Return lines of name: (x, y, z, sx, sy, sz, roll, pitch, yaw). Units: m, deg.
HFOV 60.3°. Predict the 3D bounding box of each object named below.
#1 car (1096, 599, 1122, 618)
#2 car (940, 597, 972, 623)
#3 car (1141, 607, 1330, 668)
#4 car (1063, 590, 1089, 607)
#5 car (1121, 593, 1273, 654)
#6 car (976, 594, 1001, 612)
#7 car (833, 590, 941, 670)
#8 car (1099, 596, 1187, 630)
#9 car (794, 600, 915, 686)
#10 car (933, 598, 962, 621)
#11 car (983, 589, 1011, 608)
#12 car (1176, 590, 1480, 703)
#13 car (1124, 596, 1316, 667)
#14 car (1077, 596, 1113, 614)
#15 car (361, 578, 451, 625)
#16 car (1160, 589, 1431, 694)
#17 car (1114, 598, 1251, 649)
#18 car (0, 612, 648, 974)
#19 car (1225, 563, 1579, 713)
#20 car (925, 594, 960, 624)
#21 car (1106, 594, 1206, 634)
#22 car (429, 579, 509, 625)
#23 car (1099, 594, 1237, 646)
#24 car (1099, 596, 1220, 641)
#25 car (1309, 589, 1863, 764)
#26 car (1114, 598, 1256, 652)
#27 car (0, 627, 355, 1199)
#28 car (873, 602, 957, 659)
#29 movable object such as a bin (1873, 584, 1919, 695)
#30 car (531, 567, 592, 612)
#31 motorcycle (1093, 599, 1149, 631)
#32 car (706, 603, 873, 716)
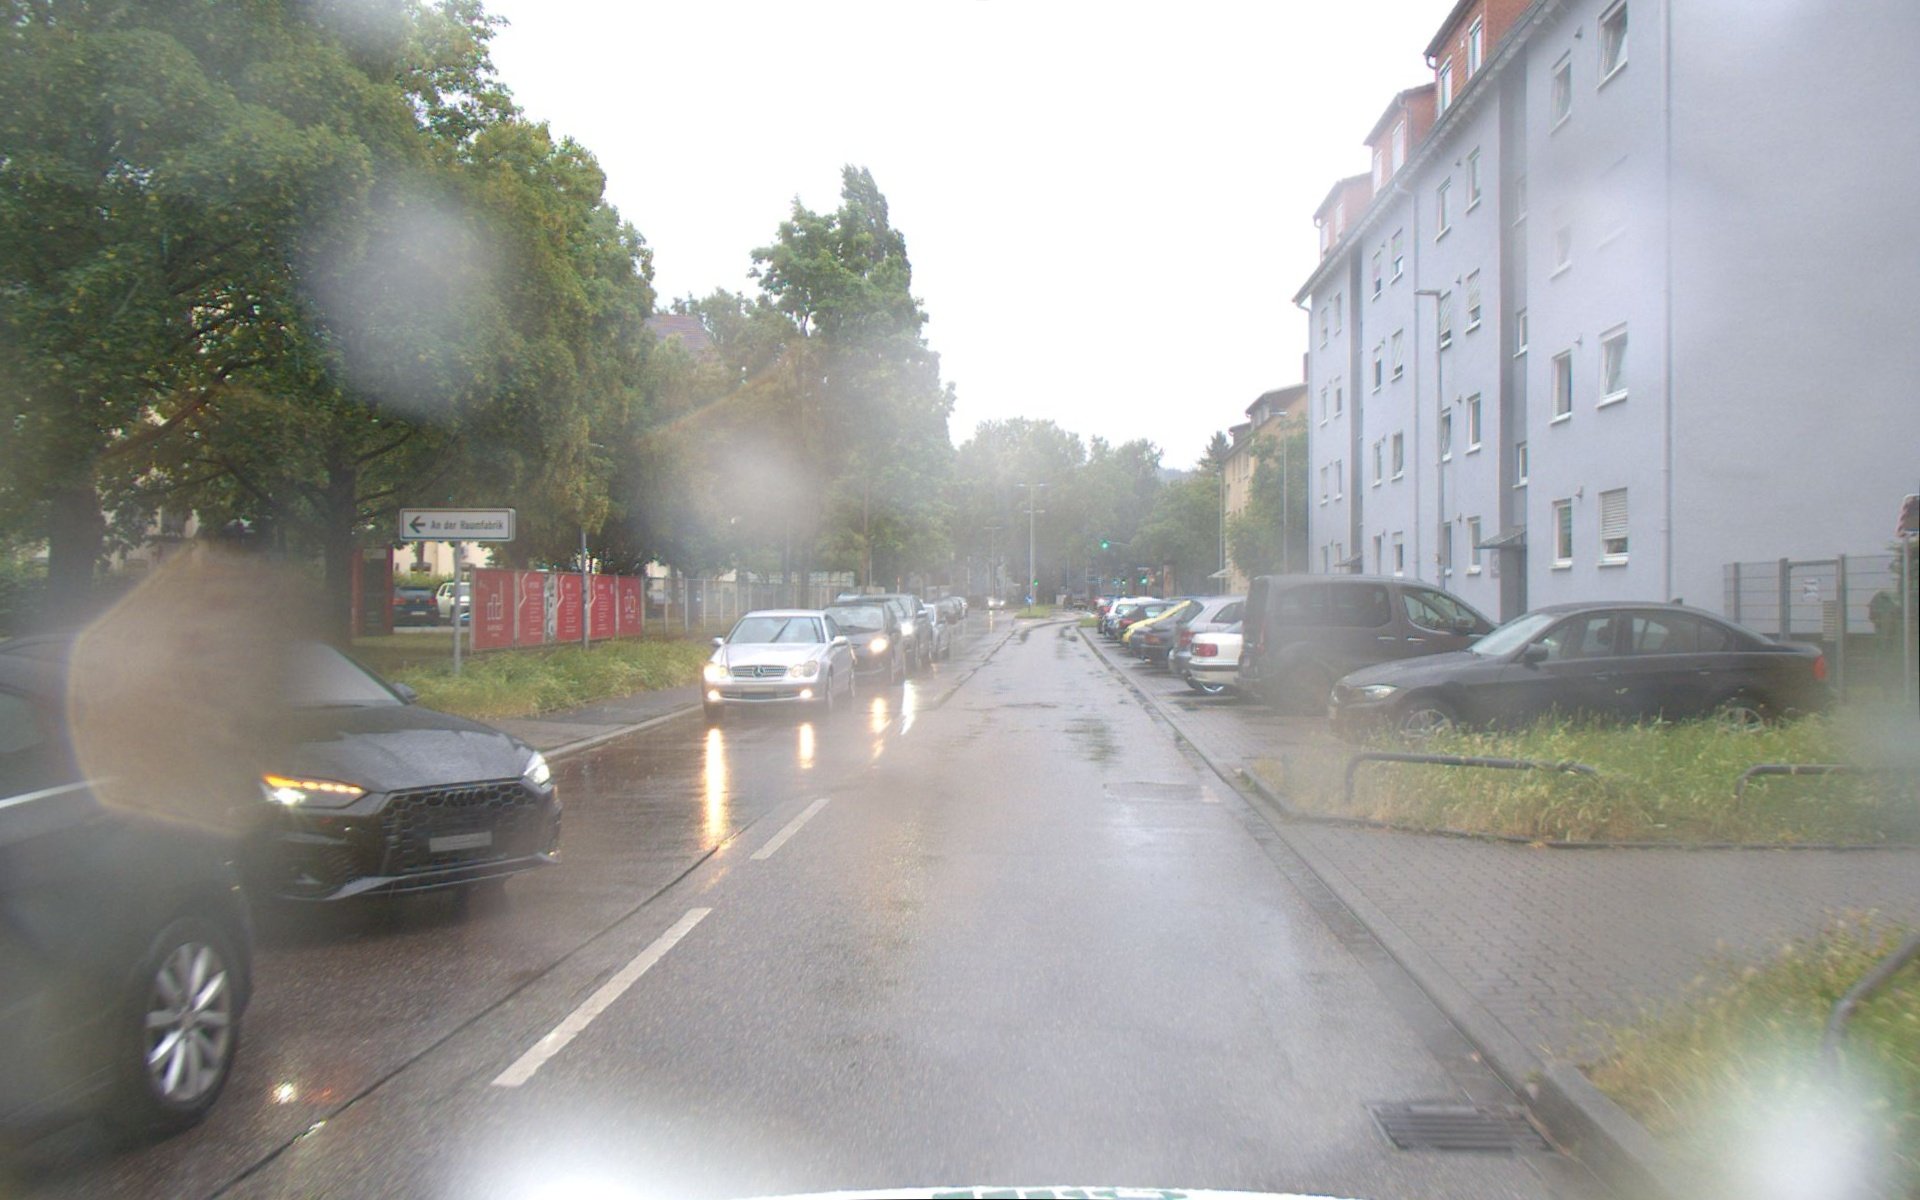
car: (11.929, 0.660, 132.599, 1.811, 1.551, 4.000, 0, 0, 1)
car: (-0.275, 0.727, 116.214, 1.886, 1.761, 4.002, 1, 0, 5)
car: (5.720, 0.765, 34.732, 3.773, 1.229, 1.957, 0, 0, 5)
car: (11.153, -0.151, 159.288, 1.814, 1.551, 3.995, 0, 0, -6)
car: (6.423, 0.635, 45.147, 3.904, 1.579, 1.853, 1, 0, 1)
car: (2.955, 0.308, 170.010, 1.710, 1.718, 3.987, 1, 0, -12)
car: (-1.574, 0.654, 37.569, 1.874, 1.668, 4.824, 1, 0, 4)
car: (8.350, 0.597, 75.635, 3.903, 1.487, 1.935, 1, 0, 3)
car: (-1.878, 0.745, 30.729, 1.741, 1.445, 4.267, -1, 0, 3)
car: (-0.846, 0.606, 109.917, 1.889, 1.510, 4.000, -1, 0, 0)
car: (3.957, -0.179, 177.039, 1.961, 2.049, 3.982, 0, 0, -16)
car: (5.354, 0.663, 24.463, 4.103, 1.596, 1.889, 0, 0, 1)
car: (5.795, 0.695, 37.274, 4.057, 1.512, 2.013, 1, 0, 3)
car: (11.887, 0.469, 146.079, 1.820, 1.551, 4.134, 0, 0, -17)
car: (-19.742, 0.078, 58.865, 1.977, 1.585, 3.950, 0, -1, -35)
car: (5.412, 0.655, 27.077, 4.094, 1.599, 1.891, 1, 0, 2)
car: (6.721, 0.704, 50.356, 4.011, 1.483, 2.001, 0, 0, 4)
car: (-4.183, 0.822, 9.171, 4.828, 1.479, 2.079, 0, 0, 35)
car: (5.744, 0.485, 21.889, 4.145, 1.837, 1.944, -1, 0, -1)
car: (-1.035, 0.512, 95.100, 1.740, 1.556, 3.998, 1, 2, -4)
car: (8.070, 0.566, 68.301, 3.904, 1.579, 1.905, 1, 0, 1)
car: (-17.893, 0.090, 60.185, 1.827, 1.600, 3.955, 1, -1, -32)
car: (6.689, 0.639, 53.501, 4.251, 1.579, 2.041, 1, 0, 2)
car: (7.066, 0.653, 58.453, 4.178, 1.479, 1.986, 1, 1, 8)
car: (5.655, 0.682, 15.435, 4.438, 1.496, 1.984, -1, 0, 3)
car: (6.467, 0.710, 47.758, 3.904, 1.467, 1.782, 1, 0, 2)
car: (-3.058, 0.811, 3.446, 1.690, 1.385, 4.340, -1, 0, 5)
car: (-1.134, 0.775, 43.597, 1.637, 1.407, 4.255, 0, 0, 6)
movable object such as a bin: (12.551, 0.499, 21.282, 1.208, 1.402, 0.823, 0, 0, 10)
car: (-19.905, -0.509, 82.527, 1.971, 2.159, 3.962, 1, 0, -29)
motorcycle: (7.092, 0.665, 72.816, 2.350, 1.347, 0.919, 1, 0, -2)
car: (-2.311, 0.767, 23.560, 1.738, 1.428, 4.831, 1, 0, 1)
